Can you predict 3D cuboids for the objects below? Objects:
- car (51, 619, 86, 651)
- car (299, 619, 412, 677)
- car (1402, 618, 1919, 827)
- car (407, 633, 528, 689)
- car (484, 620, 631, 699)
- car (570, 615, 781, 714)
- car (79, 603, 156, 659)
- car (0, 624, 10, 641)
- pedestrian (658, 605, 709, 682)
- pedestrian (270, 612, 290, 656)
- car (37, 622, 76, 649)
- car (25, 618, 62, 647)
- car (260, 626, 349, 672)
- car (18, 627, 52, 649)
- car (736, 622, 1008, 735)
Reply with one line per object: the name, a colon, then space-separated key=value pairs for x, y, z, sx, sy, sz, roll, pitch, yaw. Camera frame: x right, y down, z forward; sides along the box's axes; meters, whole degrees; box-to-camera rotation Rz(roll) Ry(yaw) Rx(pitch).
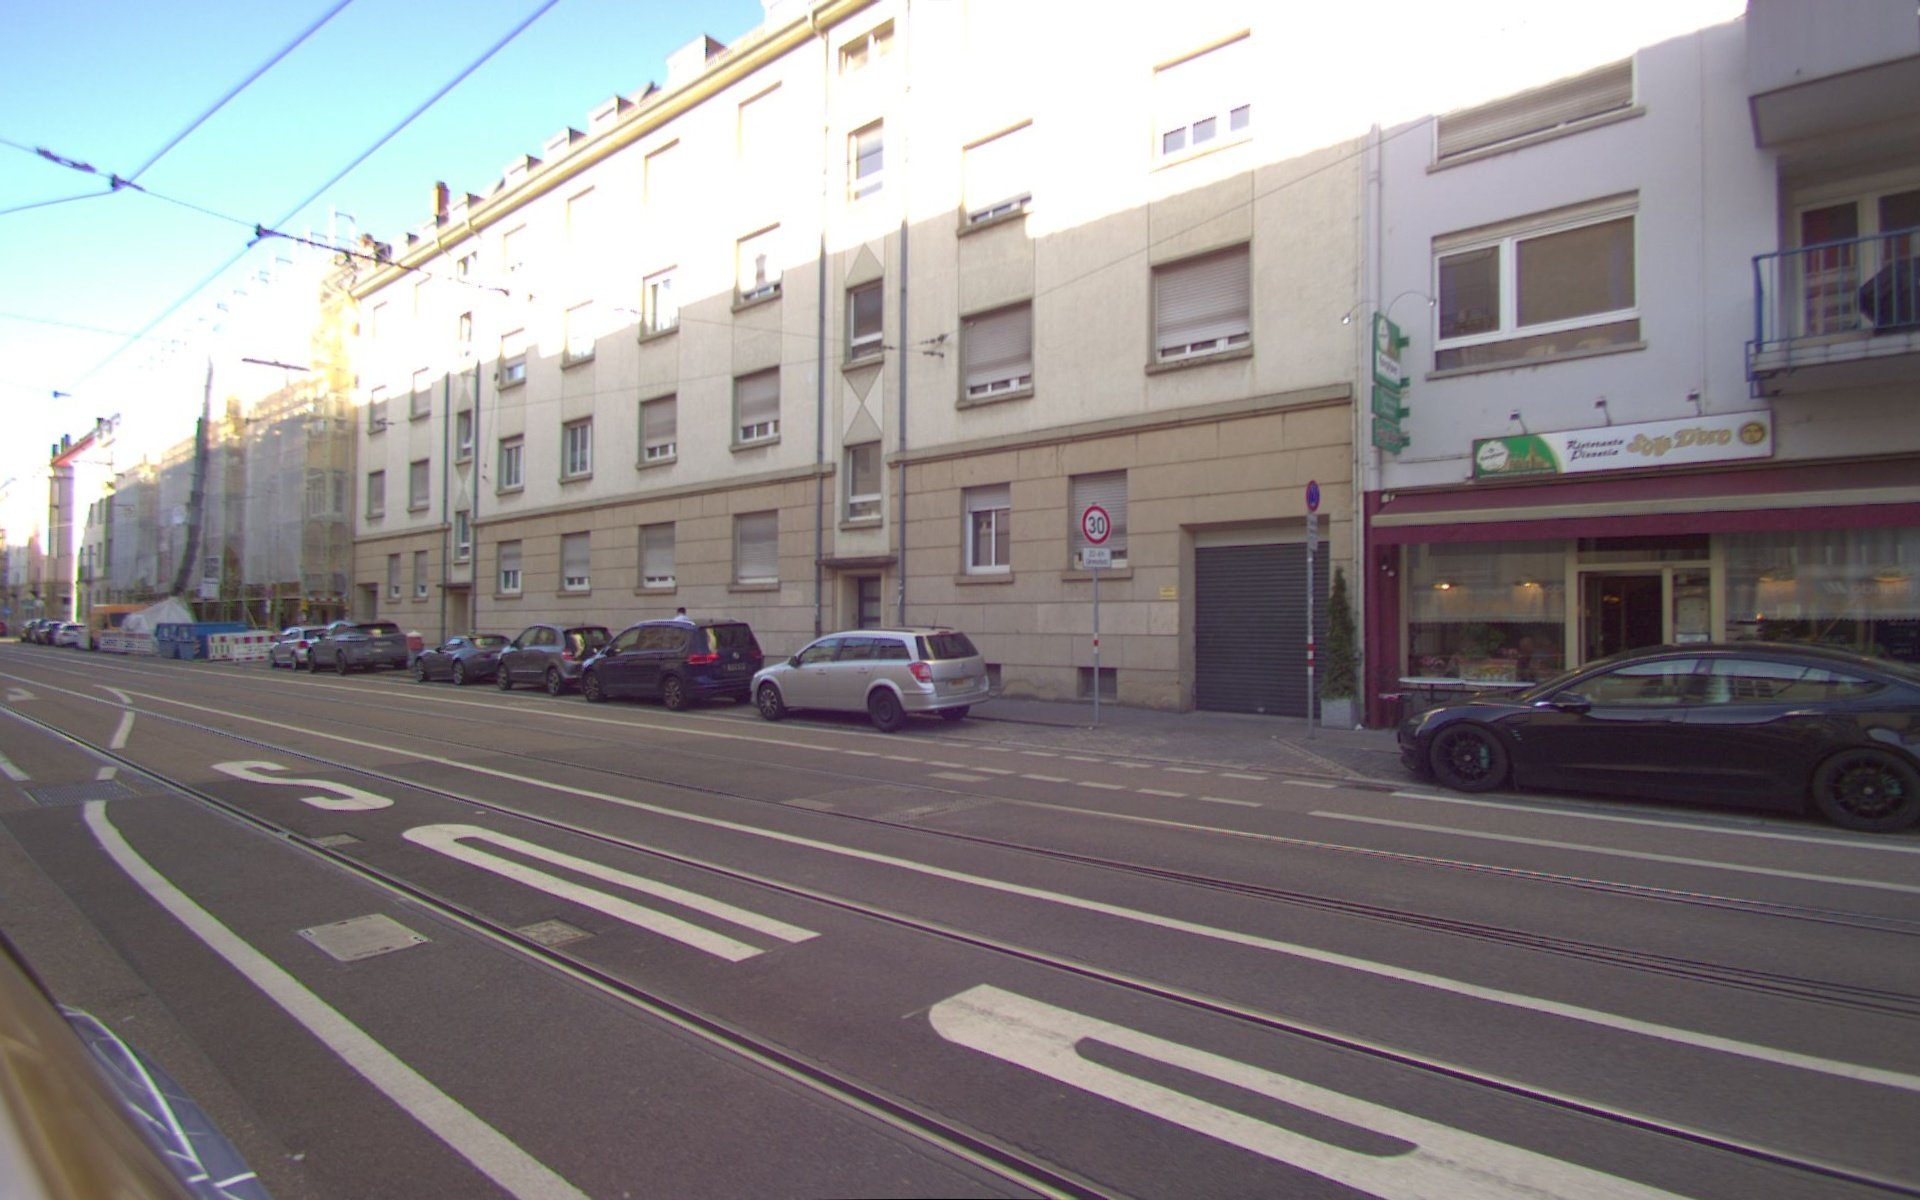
car: x=-56.514 y=2.188 z=64.180 sx=1.634 sy=1.937 sz=3.770 roll=-1 pitch=0 yaw=-41
car: x=-18.826 y=1.436 z=31.470 sx=4.156 sy=1.621 sz=1.729 roll=-1 pitch=1 yaw=40
car: x=6.573 y=0.936 z=9.108 sx=4.444 sy=1.486 sz=1.750 roll=-1 pitch=0 yaw=42
car: x=-12.638 y=1.510 z=25.881 sx=3.521 sy=1.229 sz=1.457 roll=-1 pitch=1 yaw=40
car: x=-9.140 y=1.274 z=22.871 sx=3.594 sy=1.570 sz=1.622 roll=-1 pitch=1 yaw=41
car: x=-5.584 y=1.148 z=19.621 sx=4.322 sy=1.645 sz=1.796 roll=-1 pitch=1 yaw=40
car: x=-43.425 y=1.532 z=52.134 sx=5.871 sy=2.717 sz=2.186 roll=-1 pitch=0 yaw=42
car: x=-92.343 y=3.130 z=96.439 sx=4.959 sy=1.538 sz=2.202 roll=-1 pitch=0 yaw=42
pedestrian: x=-6.554 y=1.012 z=23.954 sx=1.003 sy=1.781 sz=0.656 roll=-1 pitch=0 yaw=34
pedestrian: x=-28.986 y=1.440 z=43.137 sx=0.762 sy=1.886 sz=0.512 roll=-1 pitch=0 yaw=41
car: x=-60.795 y=2.375 z=68.083 sx=3.936 sy=1.696 sz=1.549 roll=-1 pitch=0 yaw=42
car: x=-65.638 y=2.295 z=72.427 sx=4.183 sy=1.971 sz=1.549 roll=-1 pitch=0 yaw=42
car: x=-22.257 y=1.633 z=34.308 sx=3.505 sy=1.390 sz=1.545 roll=-1 pitch=1 yaw=40
car: x=-69.641 y=2.821 z=76.183 sx=3.599 sy=1.538 sz=1.512 roll=-1 pitch=0 yaw=42
car: x=-1.503 y=1.134 z=16.076 sx=4.367 sy=1.465 sz=1.708 roll=-1 pitch=1 yaw=40
